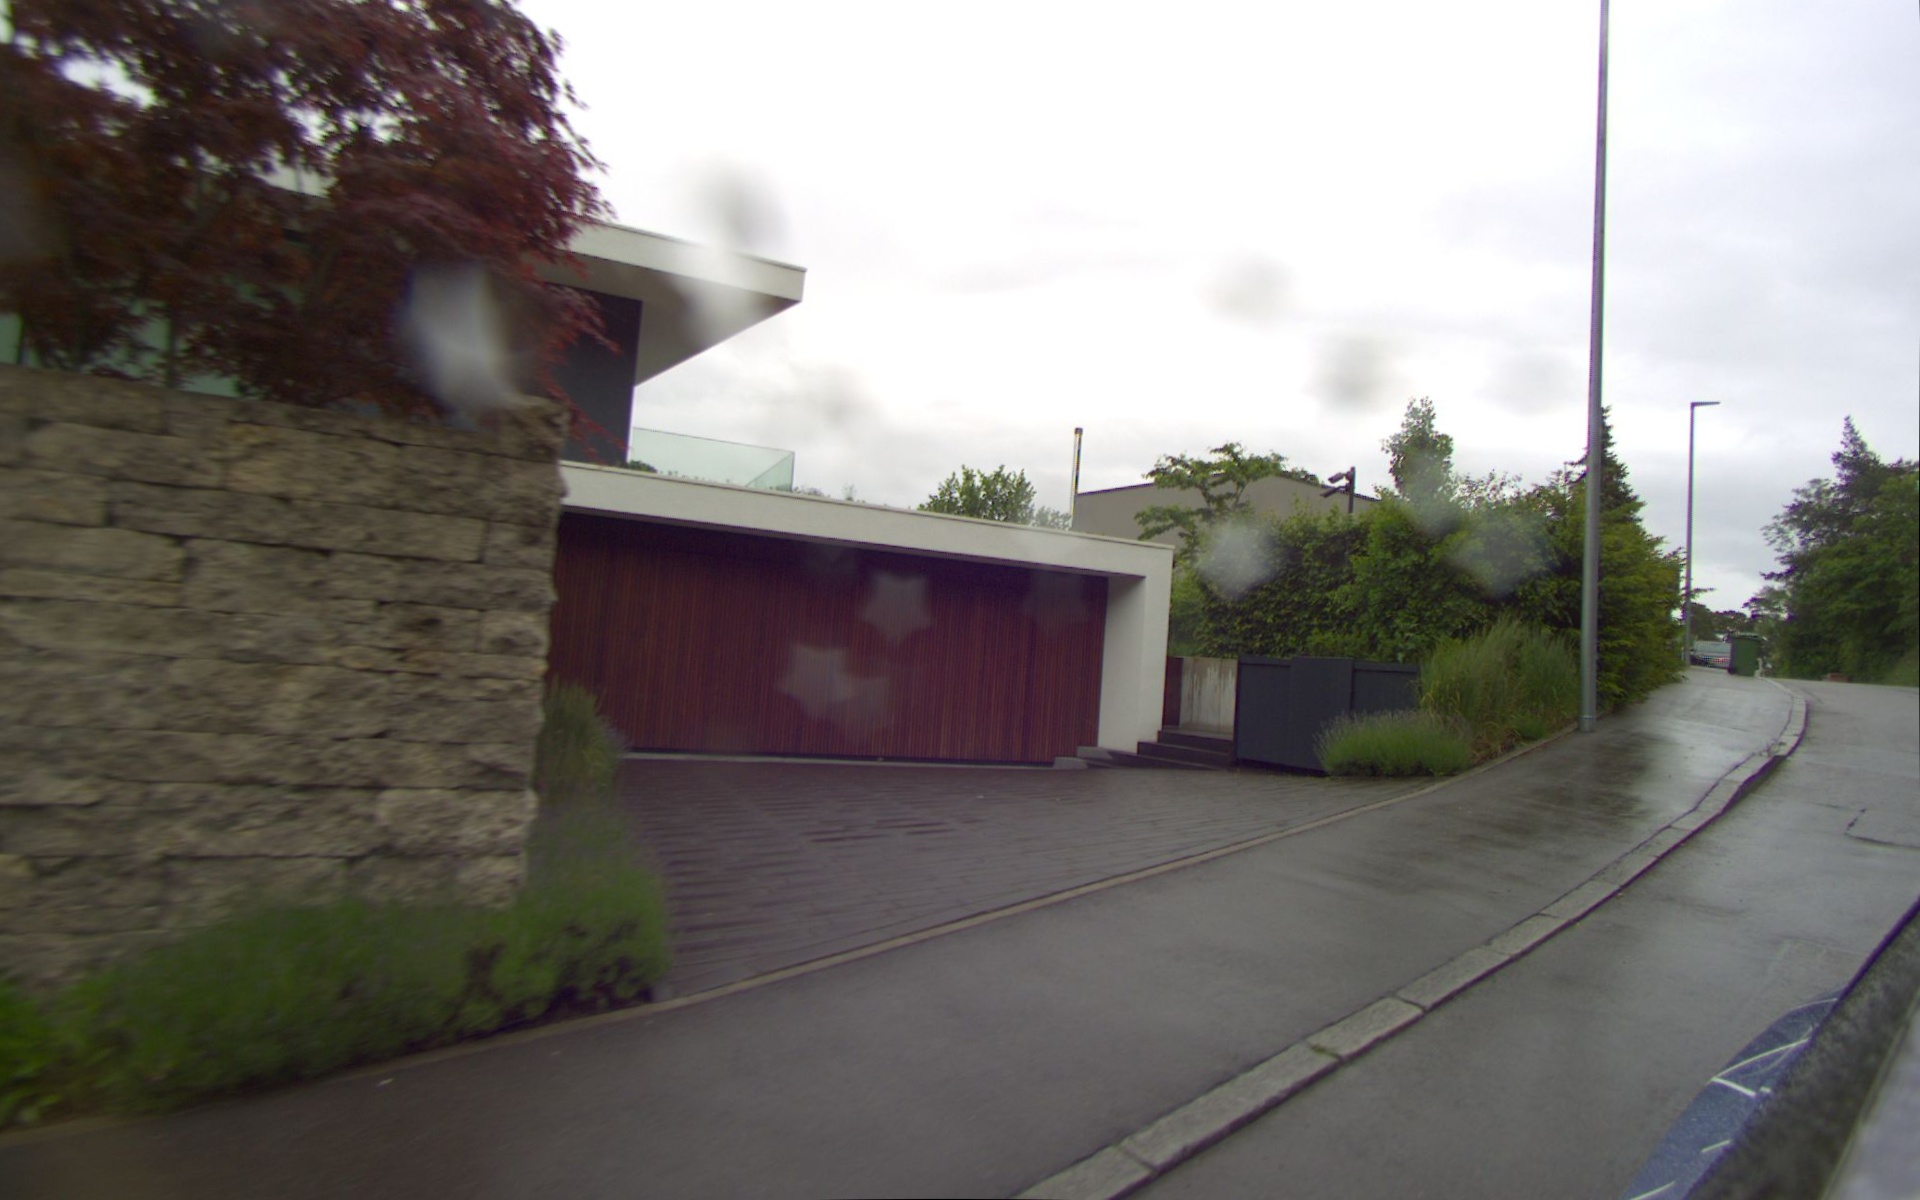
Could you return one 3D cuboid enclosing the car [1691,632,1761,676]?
[{"bbox_3d":[33.177,2.380,43.946,1.866,1.612,4.428,3,-3,31],"label":"car"}]

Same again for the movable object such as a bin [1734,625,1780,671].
[{"bbox_3d":[20.640,1.239,26.230,0.787,1.109,0.667,7,1,35],"label":"movable object such as a bin"}]

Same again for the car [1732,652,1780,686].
[{"bbox_3d":[53.806,4.686,68.509,2.105,2.000,5.106,3,-3,34],"label":"car"}]

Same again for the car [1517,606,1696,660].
[{"bbox_3d":[19.248,0.962,30.219,4.217,1.433,1.910,1,-2,45],"label":"car"}]
